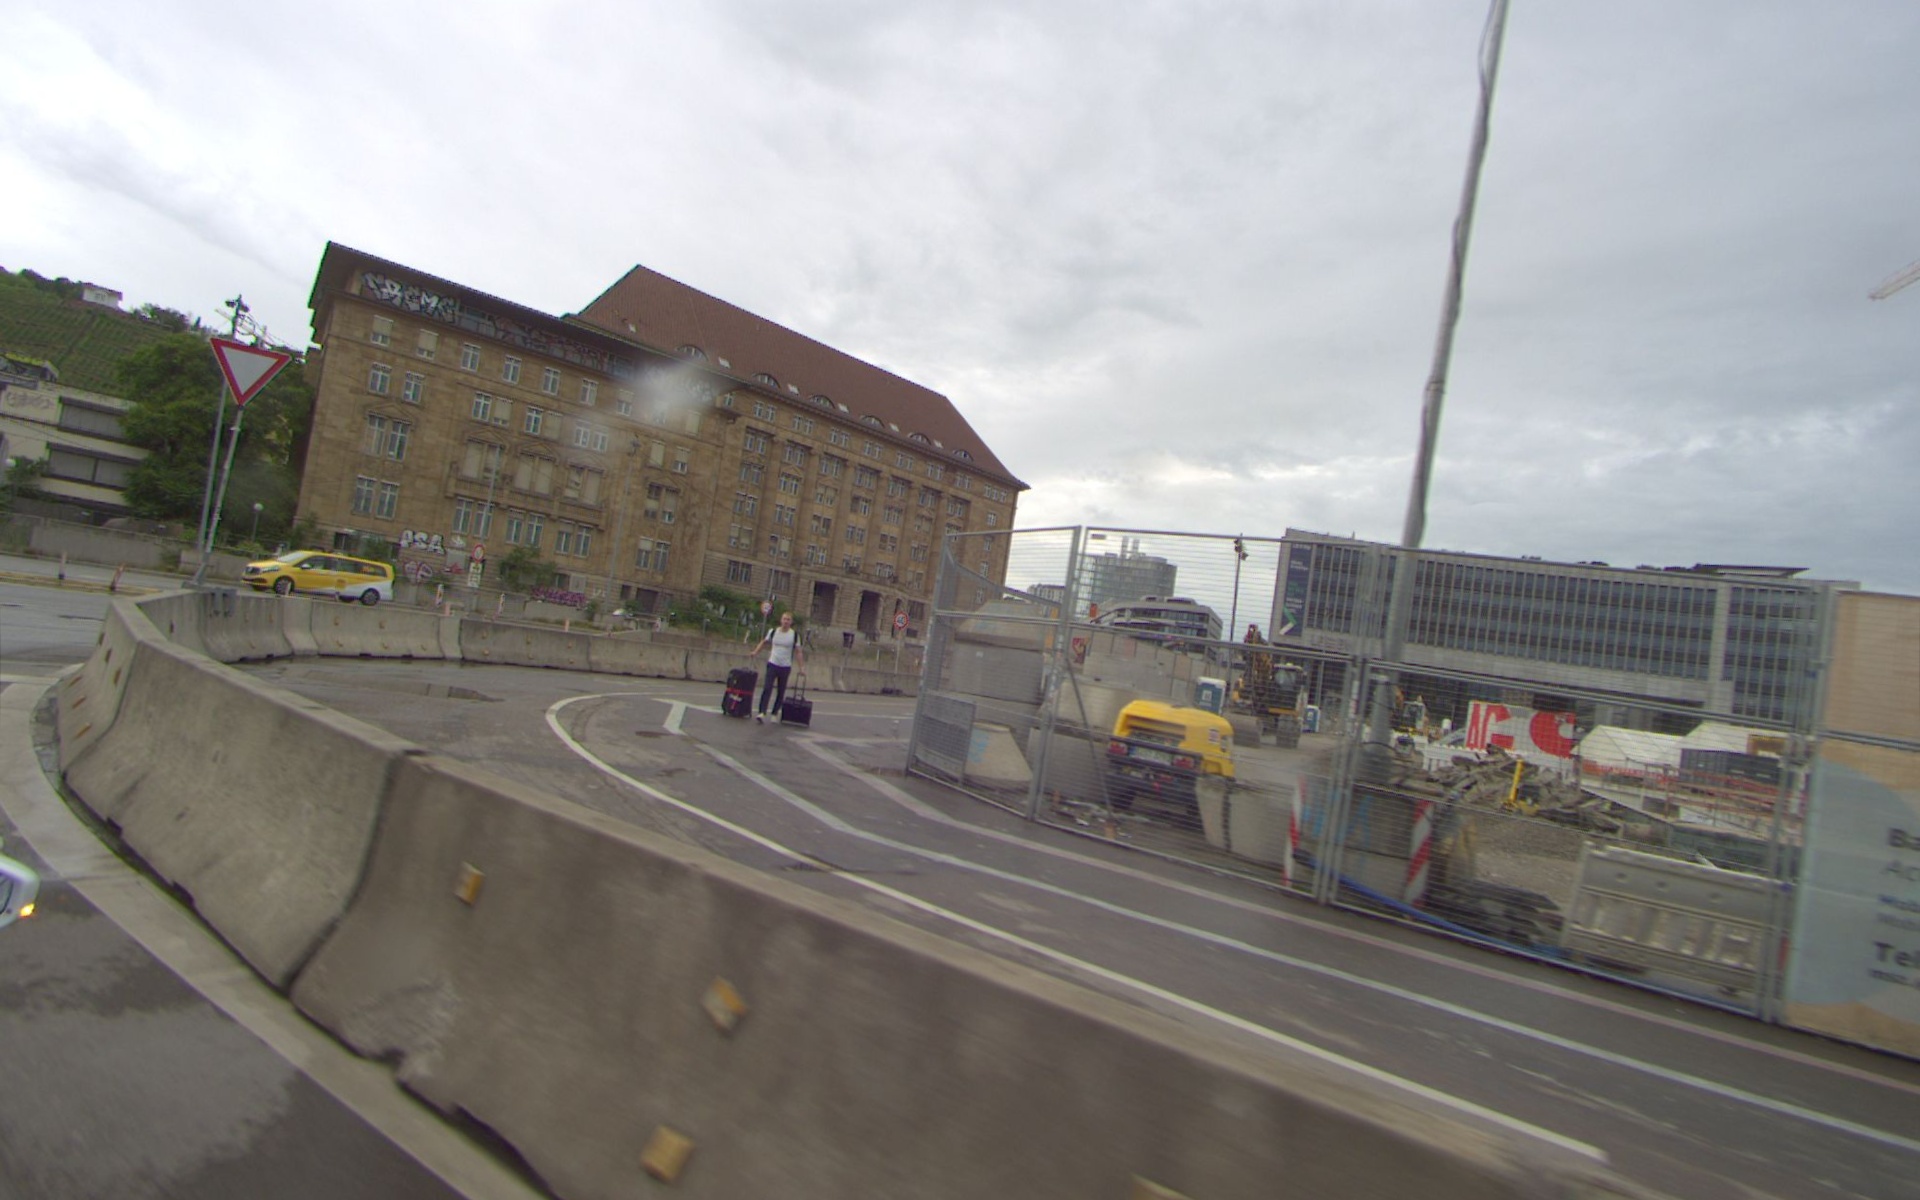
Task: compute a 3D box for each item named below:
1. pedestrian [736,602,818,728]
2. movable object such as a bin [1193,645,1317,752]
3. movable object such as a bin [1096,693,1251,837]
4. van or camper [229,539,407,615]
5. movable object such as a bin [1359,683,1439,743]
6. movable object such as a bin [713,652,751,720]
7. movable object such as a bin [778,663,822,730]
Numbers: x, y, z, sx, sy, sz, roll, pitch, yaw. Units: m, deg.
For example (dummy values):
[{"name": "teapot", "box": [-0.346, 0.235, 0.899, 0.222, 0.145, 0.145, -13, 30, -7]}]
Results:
[{"name": "pedestrian", "box": [-3.020, 1.062, 16.572, 0.988, 1.885, 0.776, 10, -3, -16]}, {"name": "movable object such as a bin", "box": [11.748, 3.911, 39.851, 3.870, 3.530, 4.360, 6, -3, 24]}, {"name": "movable object such as a bin", "box": [2.697, 2.002, 12.513, 1.168, 1.487, 1.893, 6, -3, 32]}, {"name": "van or camper", "box": [-26.229, -0.875, 41.370, 2.208, 2.075, 5.610, 7, -4, 28]}, {"name": "movable object such as a bin", "box": [30.783, 7.913, 70.448, 3.884, 3.530, 4.345, 5, -4, 38]}, {"name": "movable object such as a bin", "box": [-3.734, 1.397, 16.441, 0.426, 1.027, 0.521, 9, -3, -16]}, {"name": "movable object such as a bin", "box": [-2.710, 1.626, 17.029, 0.512, 1.027, 0.552, 10, -3, -16]}]
